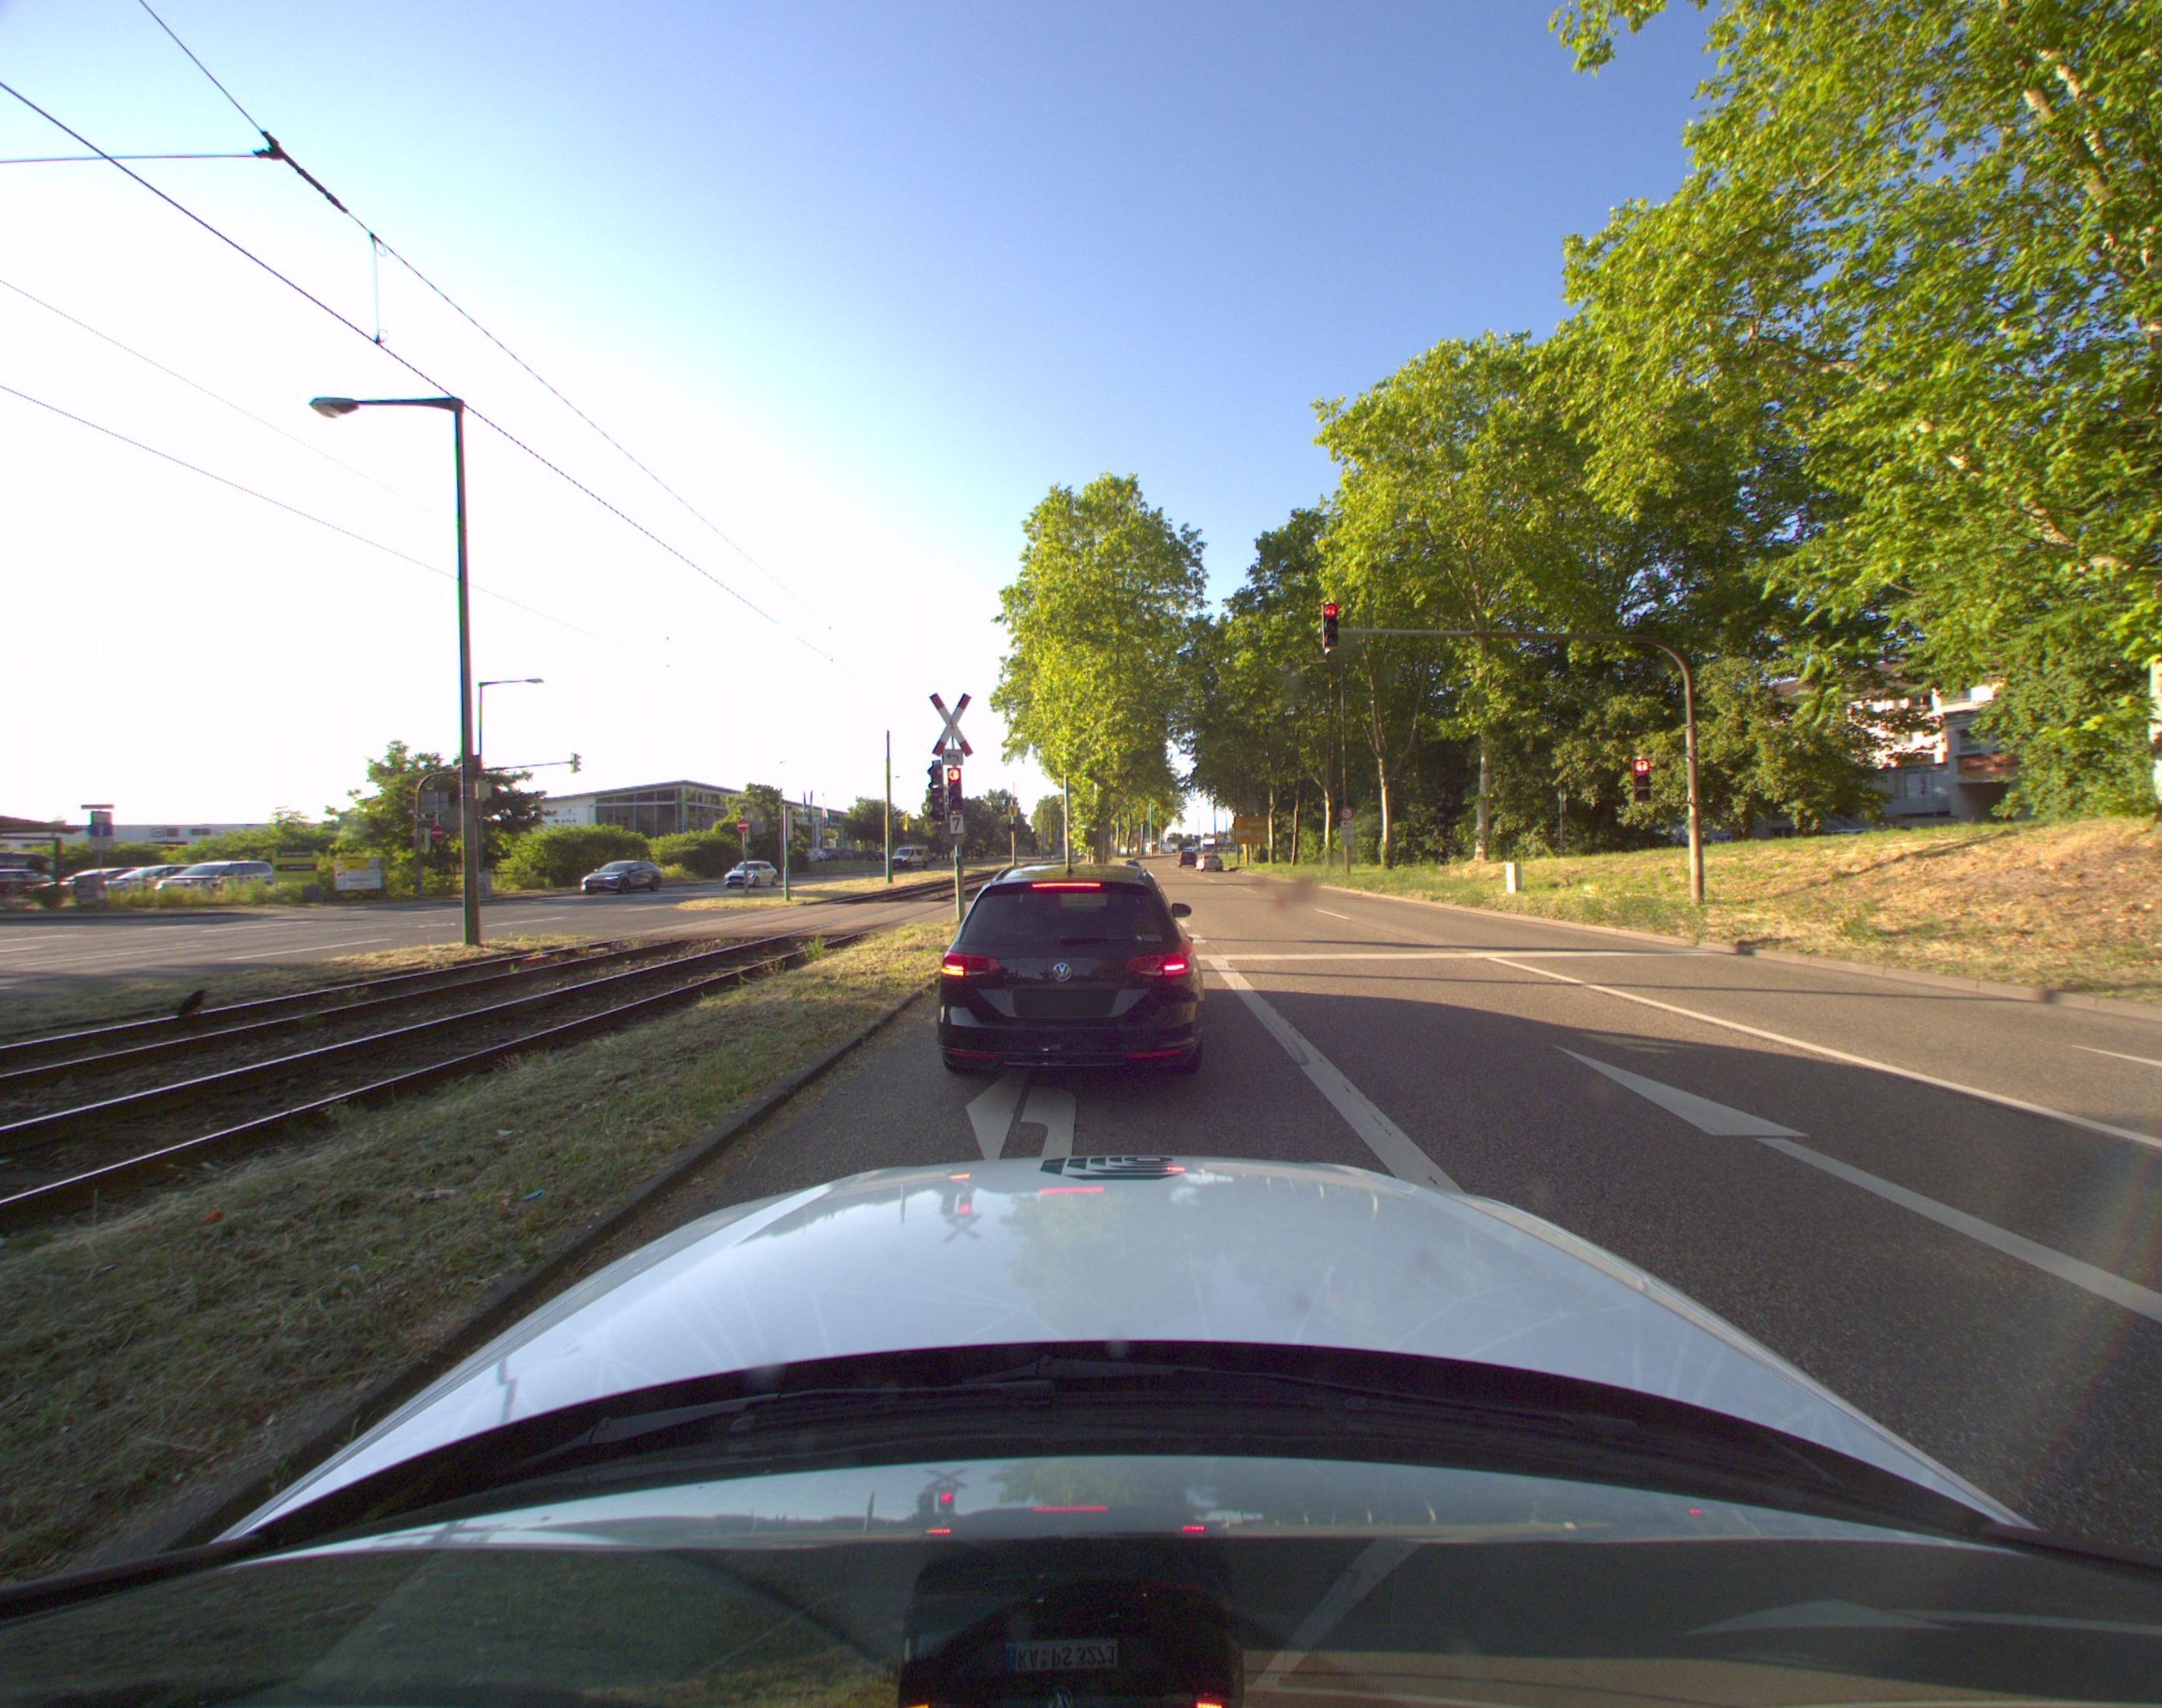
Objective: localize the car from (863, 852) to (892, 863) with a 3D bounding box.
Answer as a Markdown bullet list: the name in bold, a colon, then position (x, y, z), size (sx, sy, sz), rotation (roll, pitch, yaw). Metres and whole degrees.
- **car**: position (-30.620, 0.545, 122.744), size (3.978, 1.621, 1.742), rotation (-1, 0, -3)

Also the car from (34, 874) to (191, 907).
- **car**: position (-42.473, 1.564, 35.886), size (1.855, 1.267, 4.174), rotation (0, 0, 2)

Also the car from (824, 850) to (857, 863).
- **car**: position (-31.376, 0.345, 106.207), size (3.999, 1.556, 1.732), rotation (-1, 0, -19)

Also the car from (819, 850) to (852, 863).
- **car**: position (-31.161, 0.301, 103.416), size (3.999, 1.556, 1.732), rotation (-1, 0, -19)

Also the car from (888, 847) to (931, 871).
- **car**: position (-18.406, 0.516, 87.561), size (2.080, 2.461, 5.876), rotation (0, 0, 15)

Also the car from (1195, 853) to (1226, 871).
- **car**: position (9.895, 0.598, 62.551), size (1.605, 1.294, 3.978), rotation (0, 0, -3)

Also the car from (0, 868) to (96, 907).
- **car**: position (-47.162, 1.453, 36.041), size (1.970, 1.583, 4.174), rotation (0, 0, 2)

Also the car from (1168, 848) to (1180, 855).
- **car**: position (21.586, -0.555, 188.876), size (1.978, 1.420, 4.018), rotation (-1, 0, 18)

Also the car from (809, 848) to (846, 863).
- **car**: position (-29.270, 0.146, 94.113), size (3.999, 1.704, 1.732), rotation (-1, 0, -19)

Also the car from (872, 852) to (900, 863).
- **car**: position (-30.132, 0.589, 125.946), size (3.978, 1.621, 1.742), rotation (-1, 0, -3)

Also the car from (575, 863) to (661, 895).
- **car**: position (-23.785, 1.272, 42.036), size (1.854, 1.481, 4.176), rotation (0, 0, 3)

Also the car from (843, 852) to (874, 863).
- **car**: position (-31.449, 0.475, 115.312), size (3.983, 1.556, 1.739), rotation (-1, 0, -7)

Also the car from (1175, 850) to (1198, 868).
- **car**: position (9.865, 0.467, 76.208), size (1.701, 1.561, 4.167), rotation (-1, 0, 1)

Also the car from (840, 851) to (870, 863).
- **car**: position (-31.239, 0.437, 112.605), size (3.999, 1.556, 1.732), rotation (-1, 0, -19)

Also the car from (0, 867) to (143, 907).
- **car**: position (-44.712, 1.405, 35.889), size (1.855, 1.583, 4.174), rotation (0, 0, 2)

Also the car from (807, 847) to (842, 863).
- **car**: position (-31.655, 0.130, 100.517), size (3.999, 1.816, 1.732), rotation (-1, 0, -19)

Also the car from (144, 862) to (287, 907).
- **car**: position (-38.525, 1.323, 36.408), size (1.855, 1.821, 4.174), rotation (0, 0, 2)

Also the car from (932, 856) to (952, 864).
- **car**: position (-28.829, 1.183, 168.919), size (3.977, 1.556, 1.742), rotation (-1, 0, -2)

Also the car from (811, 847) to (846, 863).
- **car**: position (-30.612, 0.128, 98.736), size (3.999, 1.816, 1.732), rotation (-1, 0, -19)

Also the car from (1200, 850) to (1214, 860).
- **car**: position (30.167, 0.241, 195.212), size (2.077, 2.321, 5.882), rotation (0, 0, 21)

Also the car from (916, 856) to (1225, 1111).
- **car**: position (-0.017, 0.759, 6.525), size (1.788, 1.464, 3.584), rotation (0, 0, 1)

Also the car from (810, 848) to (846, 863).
- **car**: position (-29.960, 0.164, 96.382), size (3.999, 1.704, 1.732), rotation (-1, 0, -19)

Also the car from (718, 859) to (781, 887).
- **car**: position (-19.343, 1.089, 47.681), size (1.854, 1.481, 4.094), rotation (0, 0, 3)

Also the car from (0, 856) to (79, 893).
- **car**: position (-60.424, 1.154, 45.900), size (1.855, 2.014, 4.773), rotation (0, 0, 2)
